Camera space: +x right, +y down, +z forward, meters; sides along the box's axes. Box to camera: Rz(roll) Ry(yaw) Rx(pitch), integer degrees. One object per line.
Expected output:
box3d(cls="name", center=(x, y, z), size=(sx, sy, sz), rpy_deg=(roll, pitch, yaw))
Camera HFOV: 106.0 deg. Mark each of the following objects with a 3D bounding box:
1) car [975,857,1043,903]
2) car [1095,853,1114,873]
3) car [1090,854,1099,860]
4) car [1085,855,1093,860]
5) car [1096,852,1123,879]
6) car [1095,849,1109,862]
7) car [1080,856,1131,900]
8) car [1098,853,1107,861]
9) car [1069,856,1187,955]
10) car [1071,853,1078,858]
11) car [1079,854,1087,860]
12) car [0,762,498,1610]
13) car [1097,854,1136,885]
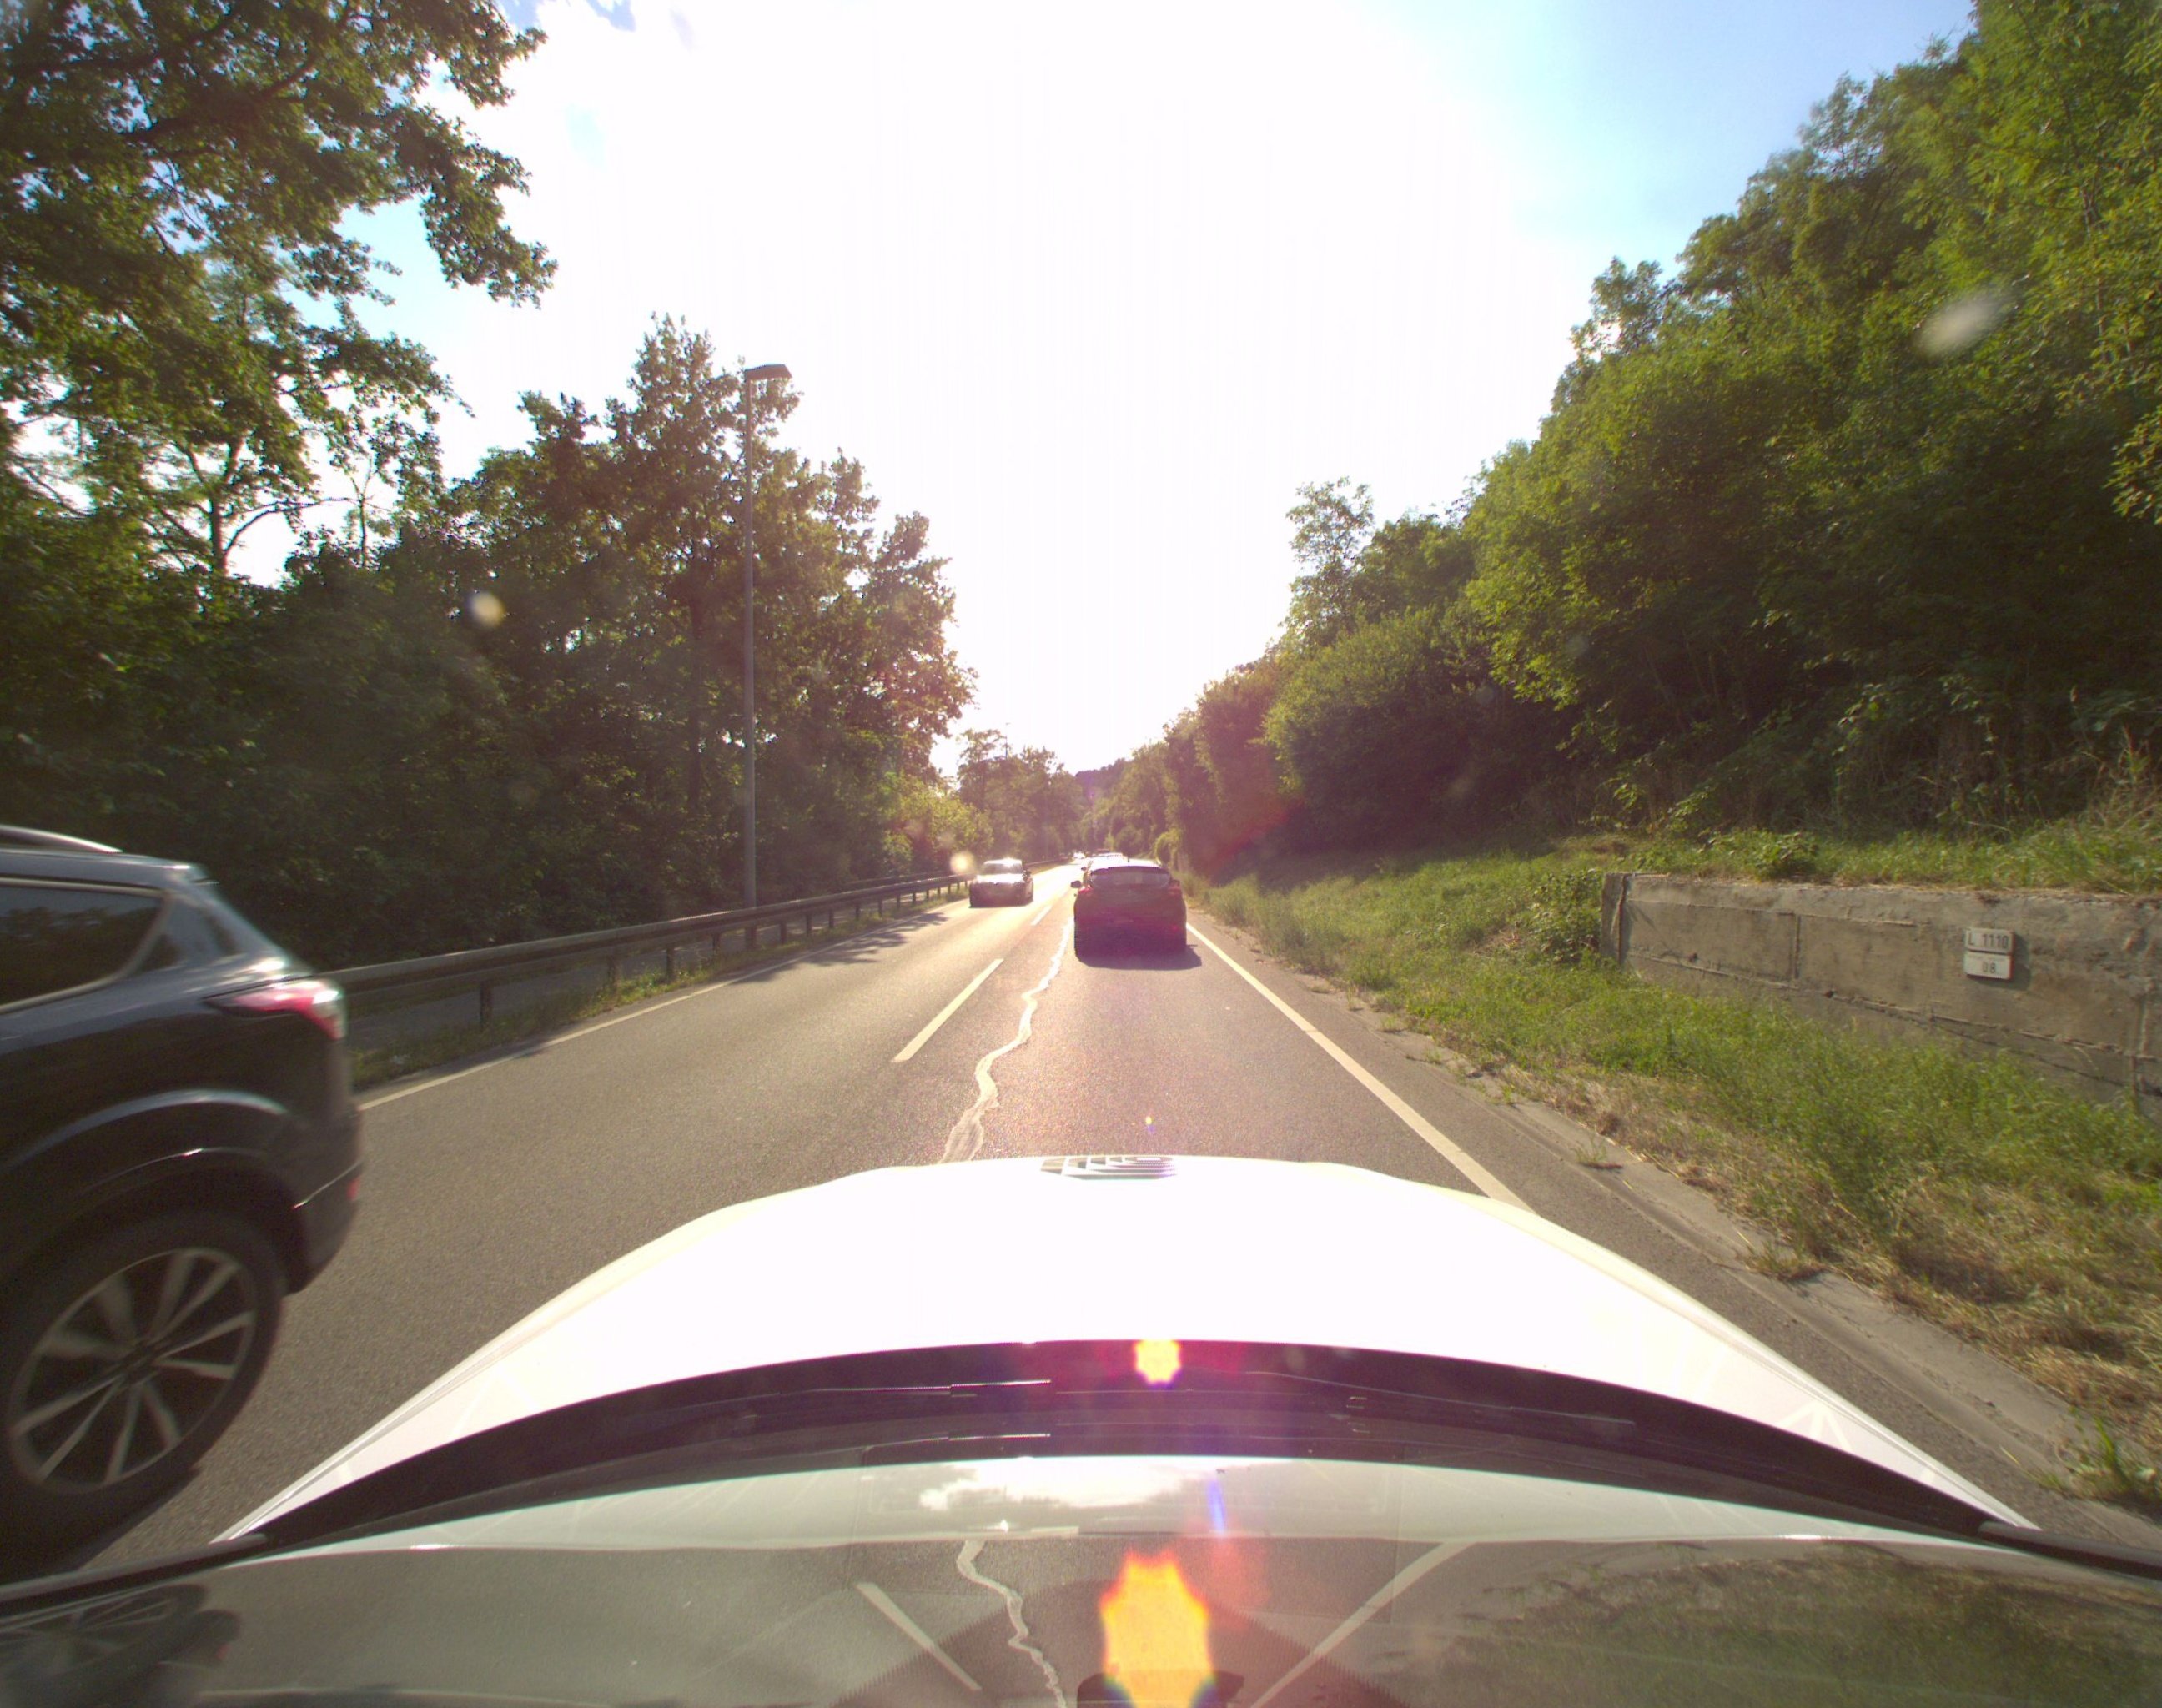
box3d(cls="car", center=(-2.396, 0.843, 28.150), size=(1.684, 1.420, 4.146), rpy_deg=(-2, 0, 4))
box3d(cls="car", center=(2.070, 0.763, 71.308), size=(1.624, 1.596, 4.002), rpy_deg=(-1, 0, 2))
box3d(cls="car", center=(3.608, 0.834, 215.935), size=(1.991, 1.519, 3.992), rpy_deg=(-1, 0, -6))
box3d(cls="car", center=(2.397, 0.987, 236.945), size=(1.991, 1.519, 3.992), rpy_deg=(-1, 0, -6))
box3d(cls="car", center=(1.786, 0.702, 51.086), size=(1.624, 1.596, 4.002), rpy_deg=(-1, 0, 2))
box3d(cls="car", center=(3.144, 0.242, 120.628), size=(1.857, 1.780, 3.998), rpy_deg=(-1, 0, -1))
box3d(cls="car", center=(0.933, 0.799, 28.966), size=(1.654, 1.418, 4.003), rpy_deg=(-1, 0, 3))
box3d(cls="car", center=(4.287, 0.528, 162.326), size=(1.812, 1.519, 4.002), rpy_deg=(-1, 0, 2))
box3d(cls="car", center=(0.762, 0.777, 14.148), size=(1.733, 1.456, 4.002), rpy_deg=(-1, 0, 2))
box3d(cls="car", center=(-1.812, 0.525, 234.272), size=(1.680, 1.463, 4.187), rpy_deg=(-1, 0, -7))
box3d(cls="car", center=(0.527, 0.700, 196.265), size=(1.617, 1.377, 4.048), rpy_deg=(-3, 0, 1))
box3d(cls="car", center=(-3.097, 0.692, 0.901), size=(1.741, 1.717, 4.222), rpy_deg=(-2, 0, 1))
box3d(cls="car", center=(1.763, 0.737, 40.683), size=(1.798, 1.391, 4.002), rpy_deg=(-1, 0, 2))
